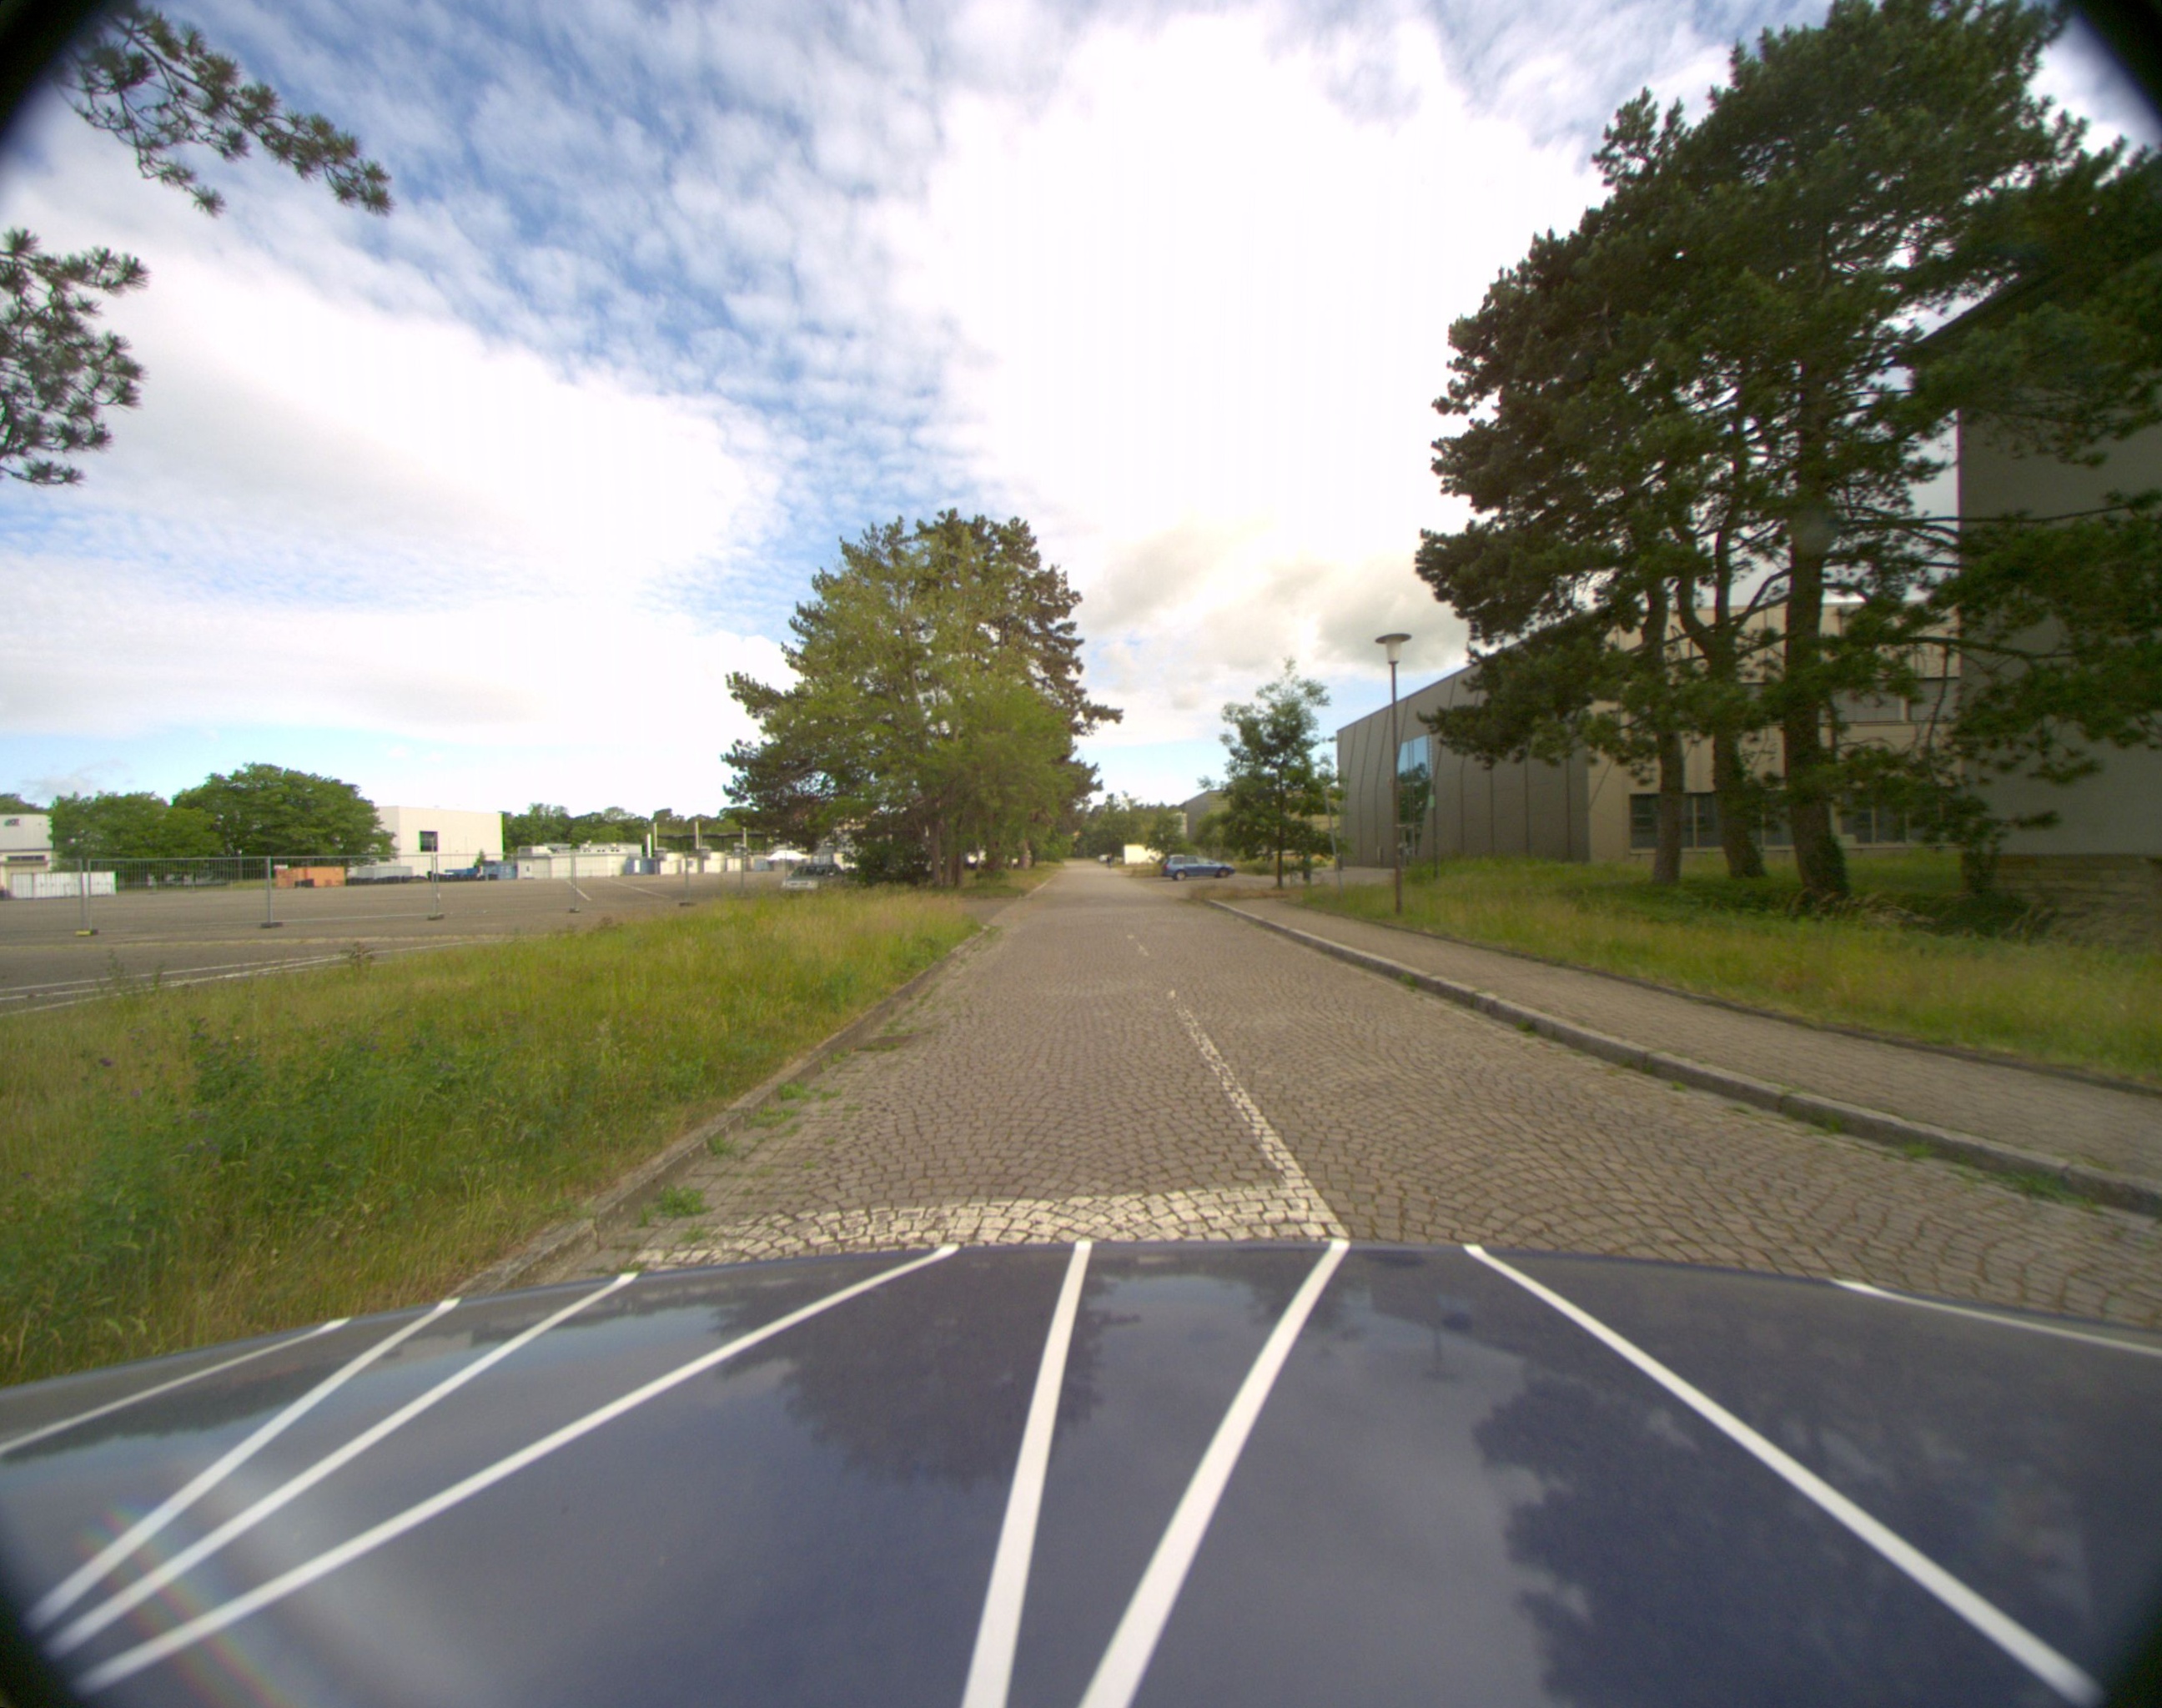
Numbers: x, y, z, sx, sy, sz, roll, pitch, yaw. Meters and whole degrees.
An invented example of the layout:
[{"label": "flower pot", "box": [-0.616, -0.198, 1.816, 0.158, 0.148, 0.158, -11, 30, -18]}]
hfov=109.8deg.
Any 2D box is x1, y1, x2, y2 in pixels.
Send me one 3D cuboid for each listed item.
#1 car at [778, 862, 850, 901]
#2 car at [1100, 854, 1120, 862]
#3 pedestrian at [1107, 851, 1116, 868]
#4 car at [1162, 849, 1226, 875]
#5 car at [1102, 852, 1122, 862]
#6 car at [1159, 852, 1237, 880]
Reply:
[{"label": "car", "box": [-11.324, 1.110, 32.516, 1.864, 1.466, 4.149, -1, 0, -4]}, {"label": "car", "box": [6.248, 0.784, 164.166, 4.078, 1.565, 1.786, -1, 1, 2]}, {"label": "pedestrian", "box": [3.205, 0.571, 79.432, 0.875, 1.713, 1.007, -1, 1, 5]}, {"label": "car", "box": [8.114, 0.572, 54.677, 4.193, 1.577, 1.838, -4, 1, -3]}, {"label": "car", "box": [6.582, 0.640, 161.896, 4.078, 1.828, 1.786, -1, 1, 2]}, {"label": "car", "box": [7.244, 0.729, 47.242, 4.415, 1.455, 1.838, -4, 1, -3]}]
